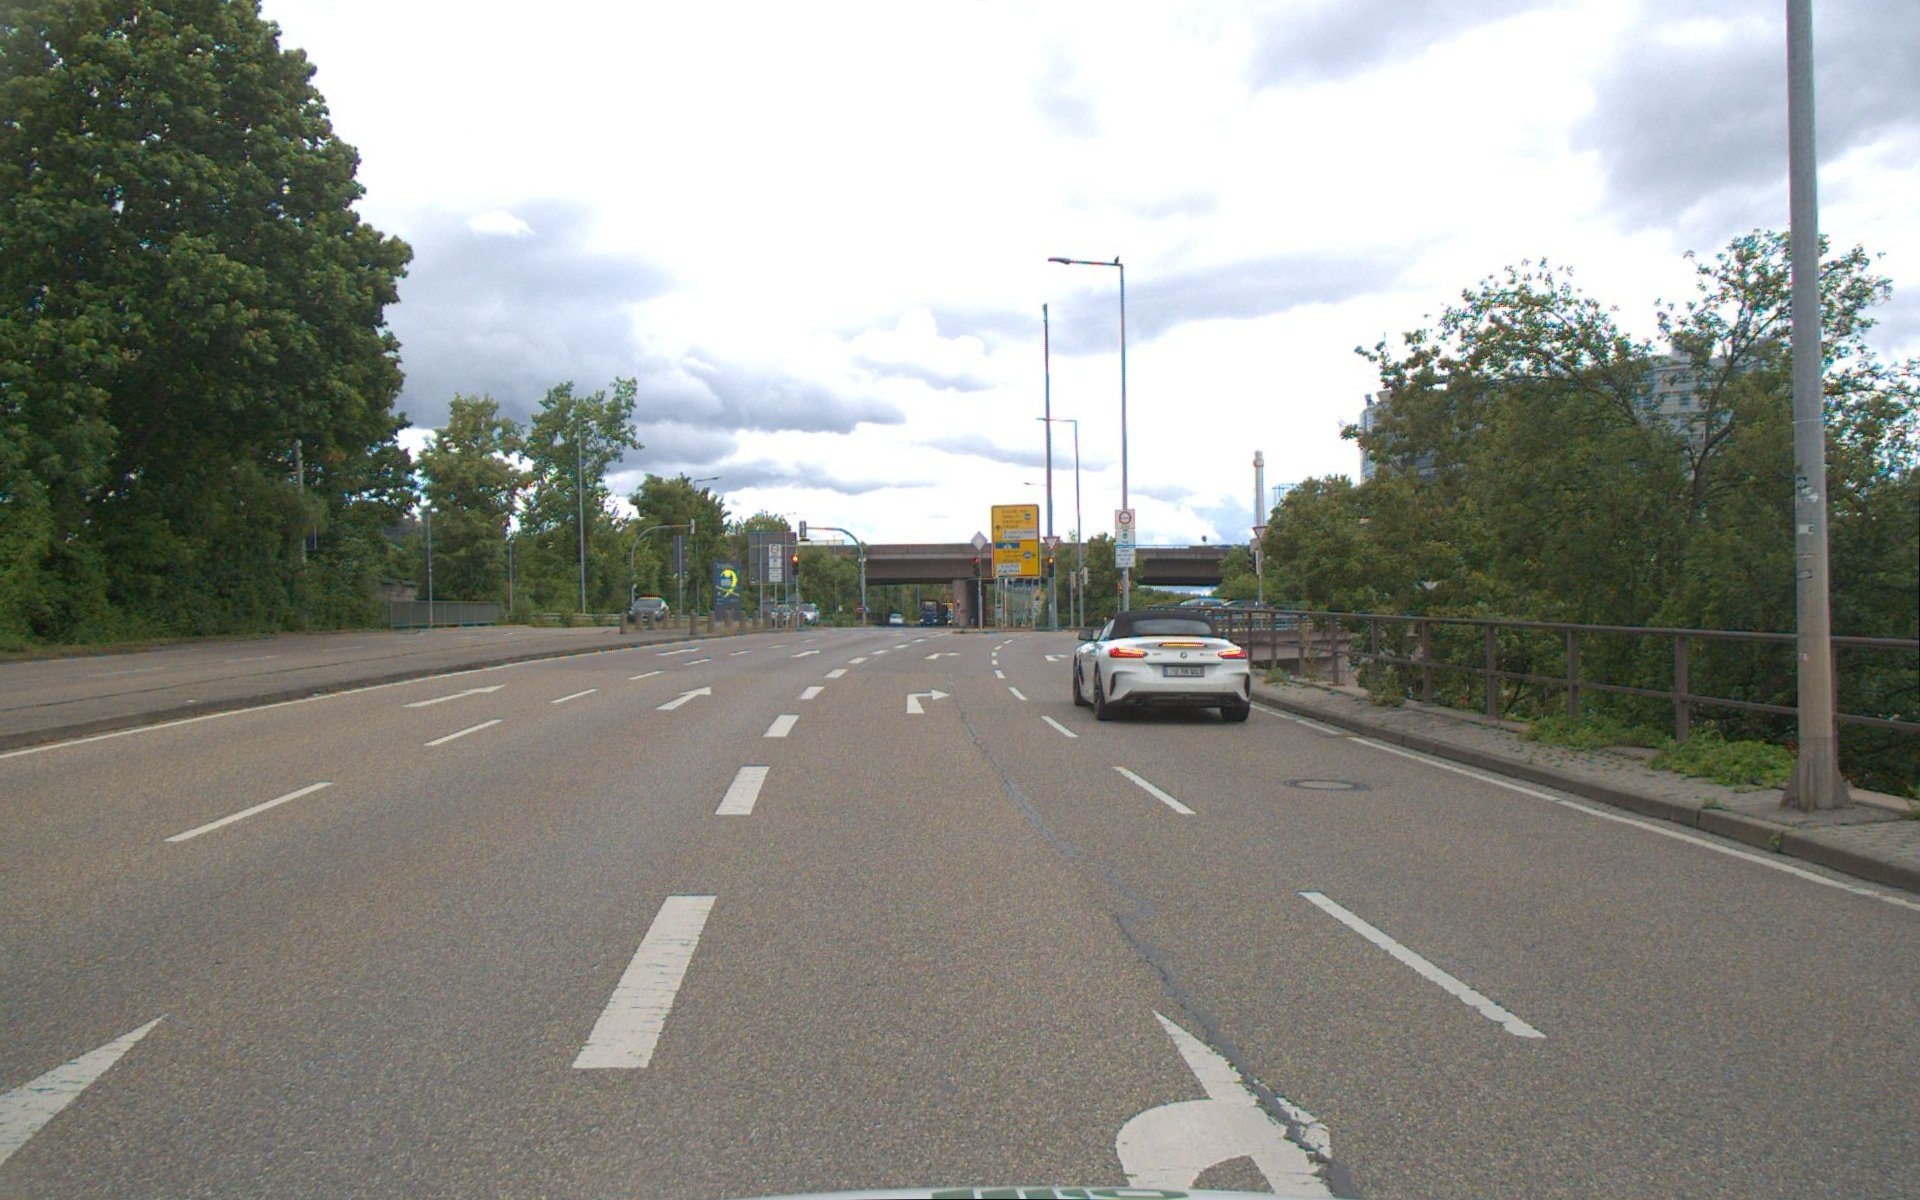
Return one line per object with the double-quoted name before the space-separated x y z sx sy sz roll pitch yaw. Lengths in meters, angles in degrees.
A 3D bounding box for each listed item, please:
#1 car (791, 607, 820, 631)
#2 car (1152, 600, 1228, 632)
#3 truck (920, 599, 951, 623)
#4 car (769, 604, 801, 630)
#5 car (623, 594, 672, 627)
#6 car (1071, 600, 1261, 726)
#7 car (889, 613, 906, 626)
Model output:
"car" -11.139 1.378 119.255 1.735 1.661 3.824 1 -1 -1
"car" 13.732 0.952 98.936 4.280 1.789 2.000 -1 -2 3
"truck" -3.336 1.576 230.503 2.861 3.201 10.118 1 -1 7
"car" -11.791 1.161 111.638 1.735 1.674 3.824 1 -1 -1
"car" -15.120 0.520 80.156 1.724 1.510 3.483 2 0 -1
"car" 2.498 0.719 20.901 1.837 1.332 3.872 -1 1 -1
"car" -7.549 2.347 200.038 1.704 1.564 3.673 0 0 3
